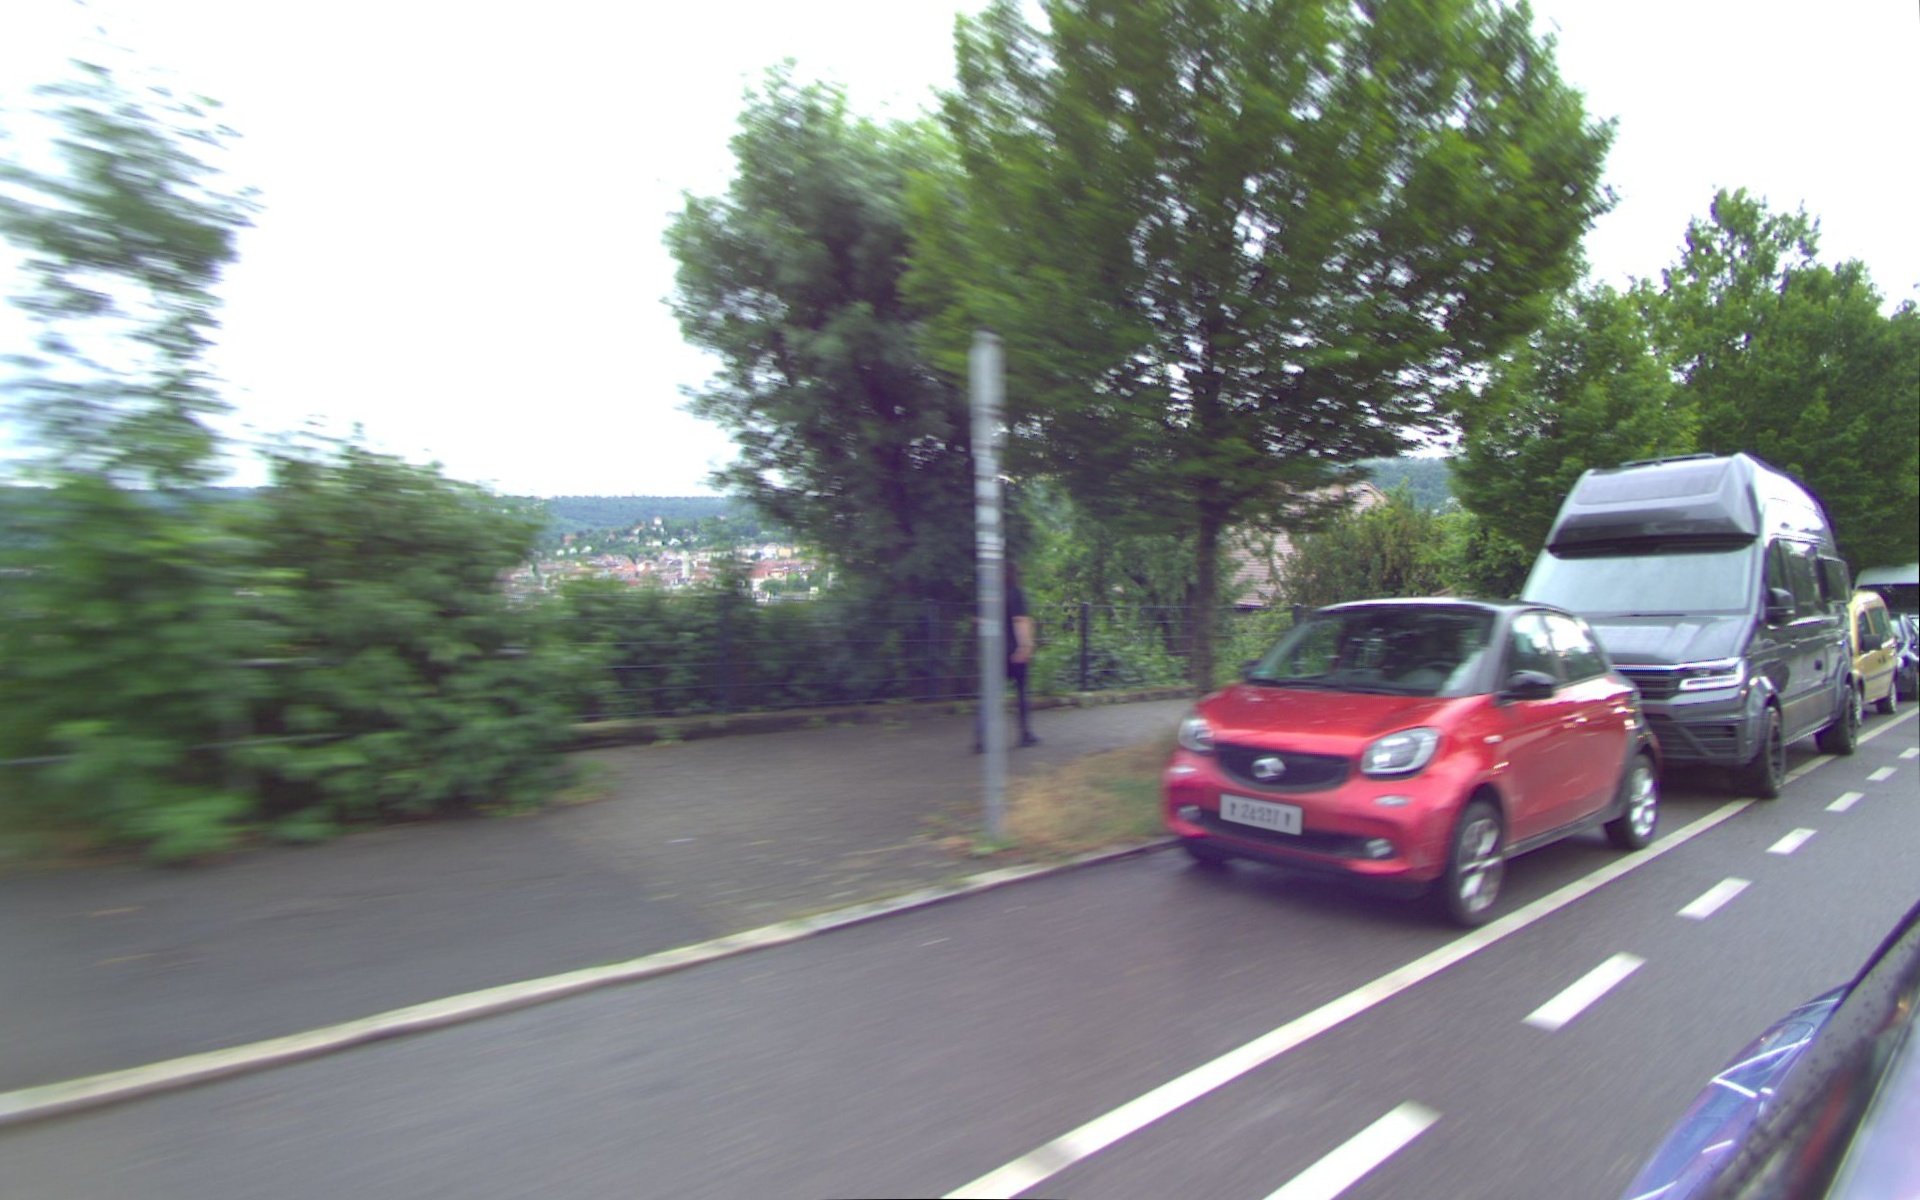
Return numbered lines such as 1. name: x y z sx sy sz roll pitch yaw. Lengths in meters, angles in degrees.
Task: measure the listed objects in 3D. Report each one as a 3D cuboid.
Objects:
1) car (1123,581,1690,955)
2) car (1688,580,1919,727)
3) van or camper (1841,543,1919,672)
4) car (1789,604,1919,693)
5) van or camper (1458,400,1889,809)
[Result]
1. car: 2.855 0.687 6.096 3.766 1.559 1.685 0 0 -41
2. car: 11.940 0.648 14.202 4.324 1.771 1.724 0 -1 -39
3. van or camper: 21.381 0.151 22.300 5.517 2.588 2.168 0 -1 -41
4. car: 16.254 0.779 17.935 4.326 1.392 1.723 0 -1 -41
5. van or camper: 7.215 0.026 9.939 5.626 2.947 2.128 0 0 -40
